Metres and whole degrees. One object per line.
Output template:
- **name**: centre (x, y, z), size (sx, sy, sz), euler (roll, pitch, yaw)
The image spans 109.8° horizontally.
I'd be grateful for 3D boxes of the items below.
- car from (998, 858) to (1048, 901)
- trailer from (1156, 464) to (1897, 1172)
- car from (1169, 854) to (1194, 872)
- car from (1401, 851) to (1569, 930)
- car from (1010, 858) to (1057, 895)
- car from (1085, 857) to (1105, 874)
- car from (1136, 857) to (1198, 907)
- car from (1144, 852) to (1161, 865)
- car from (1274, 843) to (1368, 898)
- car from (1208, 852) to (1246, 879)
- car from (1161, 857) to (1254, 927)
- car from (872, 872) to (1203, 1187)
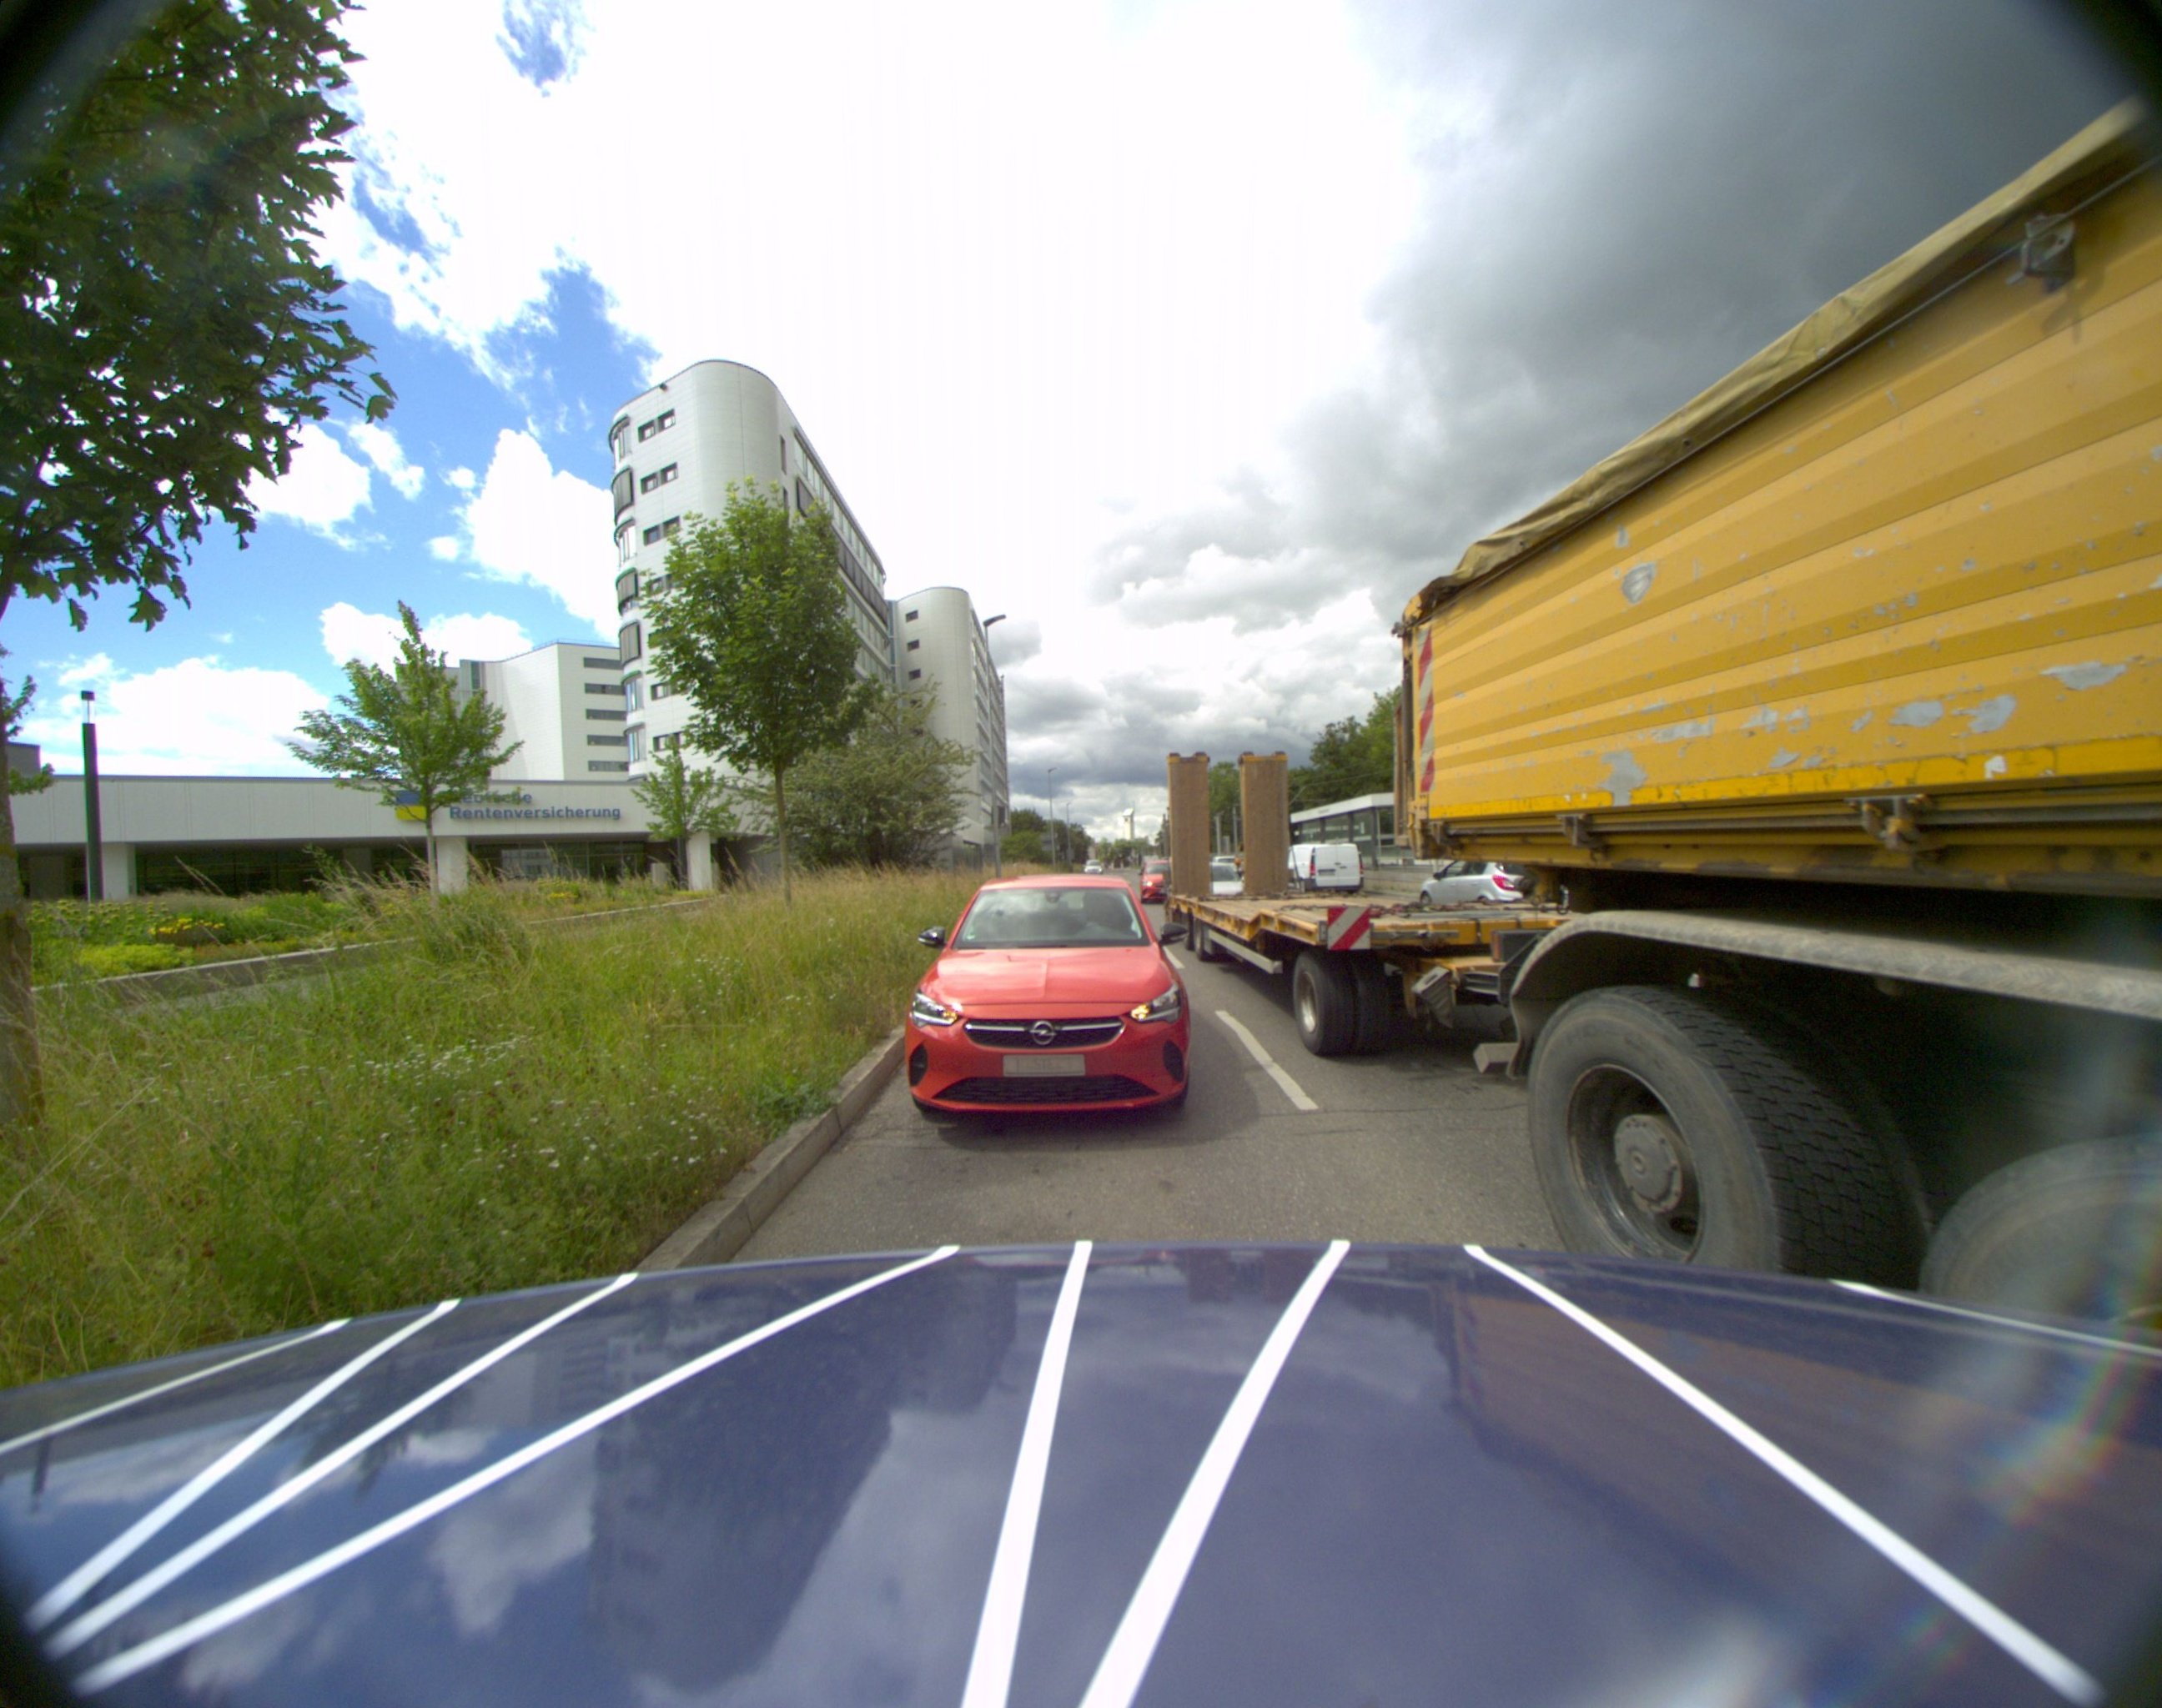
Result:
- **car**: centre (-2.287, 0.995, 30.651), size (1.738, 1.565, 3.445), euler (-2, 0, 0)
- **trailer**: centre (2.812, -0.171, 9.324), size (2.713, 3.501, 10.914), euler (-2, 0, 1)
- **car**: centre (8.747, 0.763, 66.330), size (1.644, 1.489, 3.554), euler (-2, 0, 1)
- **car**: centre (8.490, 0.709, 16.331), size (1.705, 1.449, 3.566), euler (-2, 0, 1)
- **car**: centre (-2.139, 0.980, 35.447), size (1.850, 1.565, 4.623), euler (-2, 0, 0)
- **car**: centre (1.326, 1.069, 72.402), size (1.738, 1.565, 3.445), euler (-2, 0, 0)
- **car**: centre (2.870, 0.891, 26.152), size (1.692, 1.471, 3.999), euler (-2, 1, 1)
- **car**: centre (8.652, 0.600, 92.604), size (1.770, 1.489, 3.554), euler (-2, 0, 1)
- **car**: centre (8.534, 0.551, 27.503), size (1.887, 1.761, 4.864), euler (-2, 0, 1)
- **car**: centre (8.907, 0.688, 46.627), size (1.644, 1.489, 3.554), euler (-2, 0, 1)
- **car**: centre (3.069, 0.866, 19.238), size (1.692, 1.471, 3.999), euler (-2, 1, 1)
- **car**: centre (-0.201, 0.981, 6.018), size (1.692, 1.471, 3.999), euler (-2, 1, 1)
